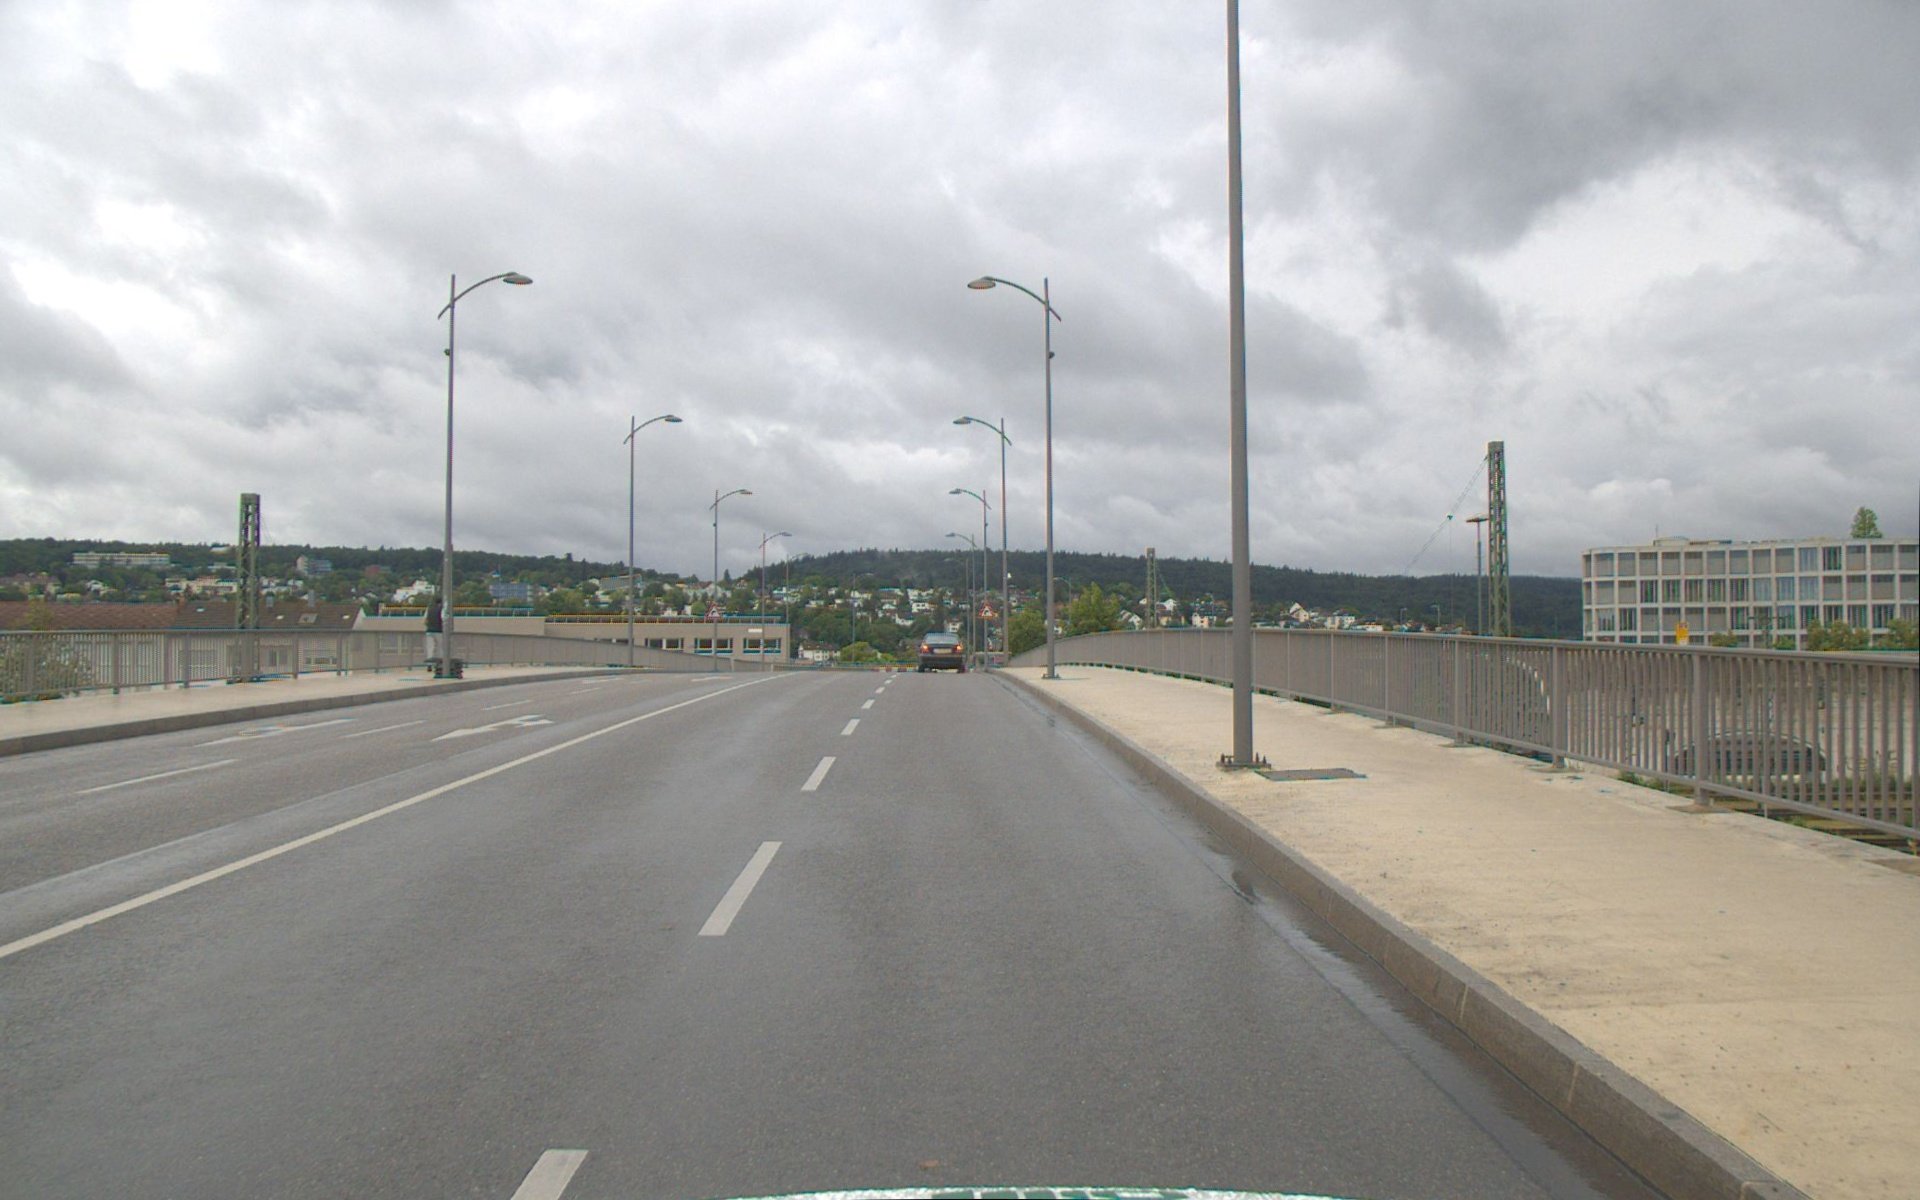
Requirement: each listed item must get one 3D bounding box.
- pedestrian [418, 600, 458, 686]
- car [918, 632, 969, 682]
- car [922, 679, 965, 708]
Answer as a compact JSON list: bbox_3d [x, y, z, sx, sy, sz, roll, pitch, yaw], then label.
[{"bbox_3d":[-13.135,1.082,41.638,0.741,2.084,0.891,-1,-6,-1],"label":"pedestrian"},{"bbox_3d":[-0.596,2.070,59.341,1.718,1.505,3.998,-1,-6,-1],"label":"car"},{"bbox_3d":[-1.429,8.235,145.284,1.917,2.135,4.082,-9,-11,30],"label":"car"}]
